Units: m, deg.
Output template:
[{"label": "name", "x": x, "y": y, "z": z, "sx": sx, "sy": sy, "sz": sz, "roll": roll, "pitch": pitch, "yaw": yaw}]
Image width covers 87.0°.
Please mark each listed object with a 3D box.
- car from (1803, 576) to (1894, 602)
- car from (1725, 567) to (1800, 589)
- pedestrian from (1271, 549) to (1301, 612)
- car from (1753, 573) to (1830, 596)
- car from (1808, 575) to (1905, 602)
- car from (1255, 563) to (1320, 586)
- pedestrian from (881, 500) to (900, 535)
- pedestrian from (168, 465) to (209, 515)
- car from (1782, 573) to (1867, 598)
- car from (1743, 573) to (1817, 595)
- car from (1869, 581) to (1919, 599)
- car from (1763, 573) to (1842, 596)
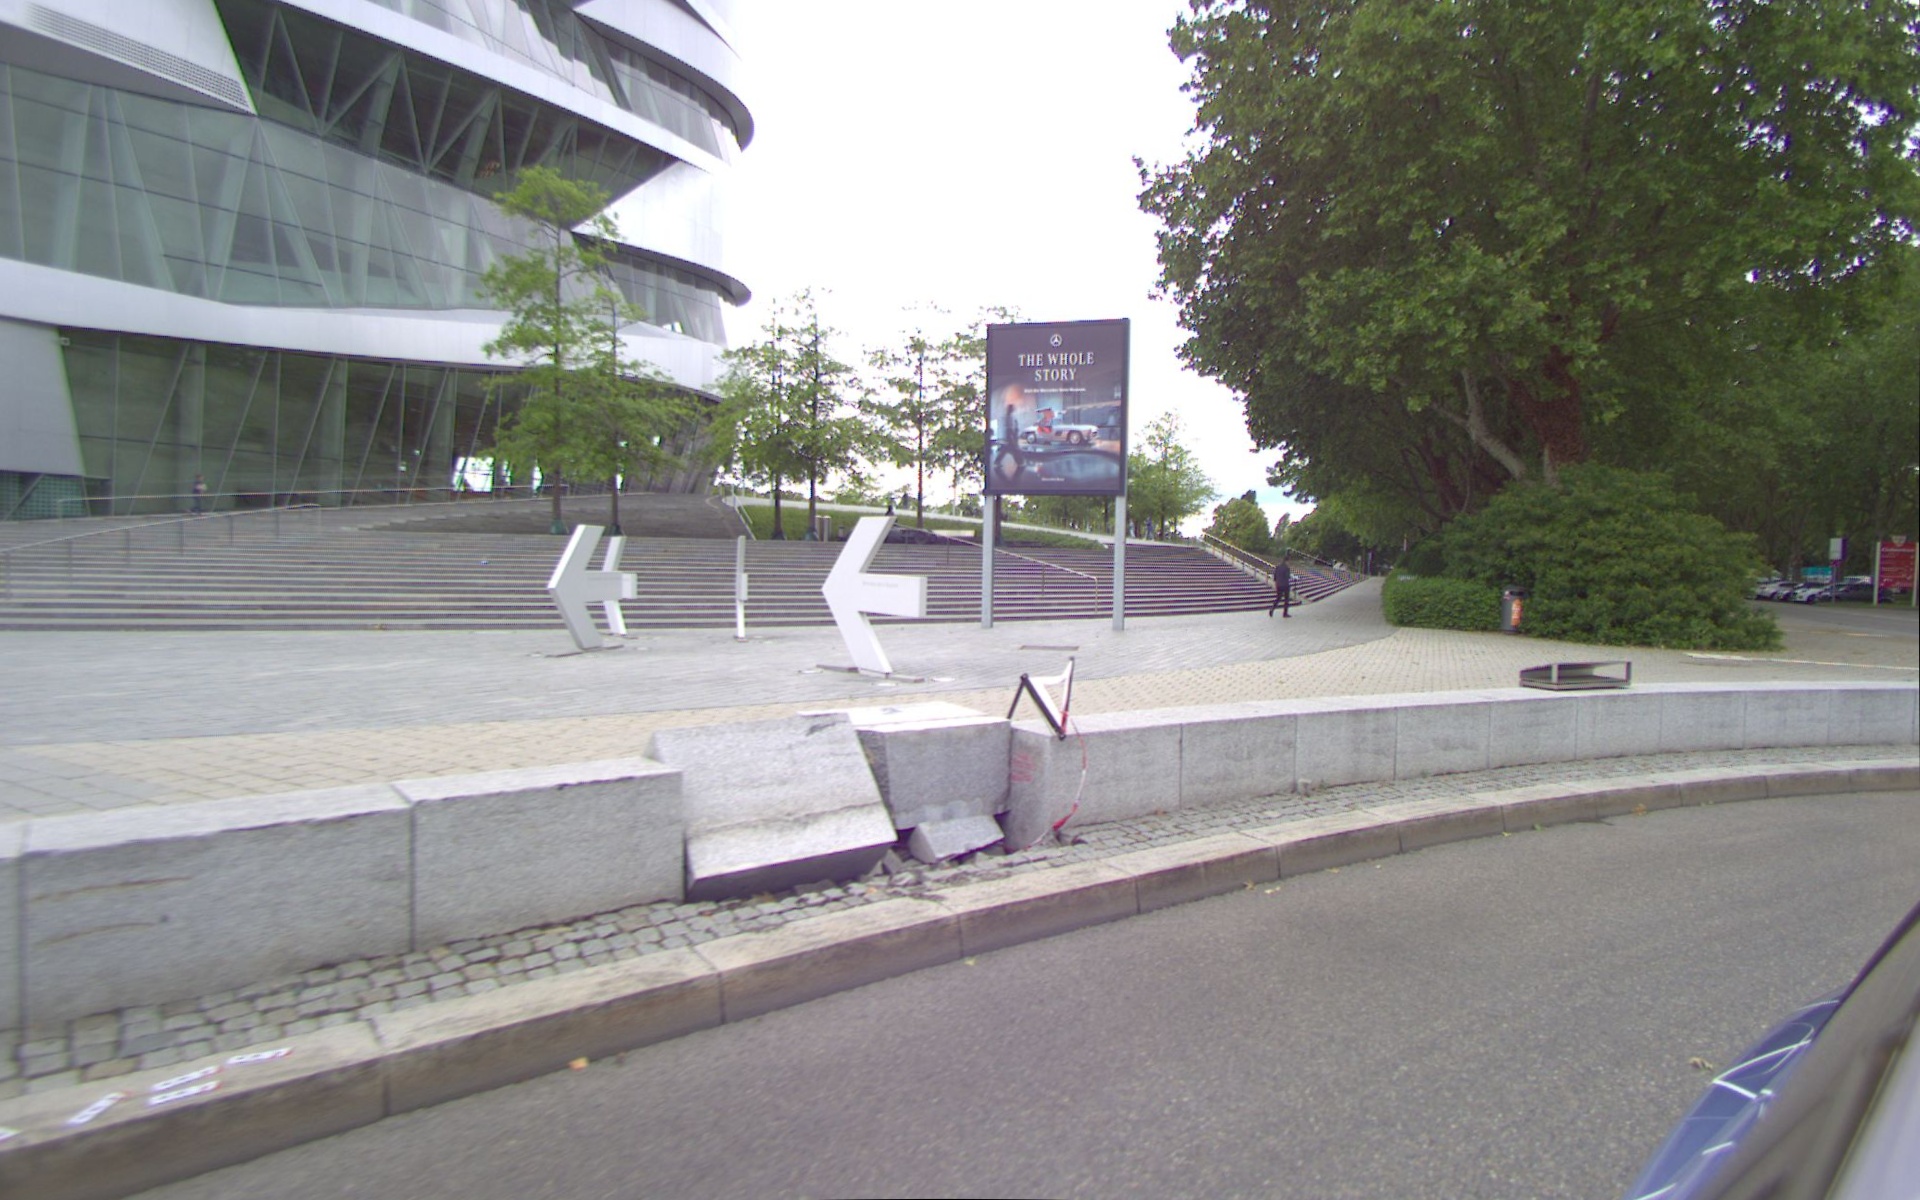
[{"label": "car", "x": 55.807, "y": -0.728, "z": 63.670, "sx": 3.976, "sy": 1.537, "sz": 1.851, "roll": 2, "pitch": 1, "yaw": 32}, {"label": "car", "x": 64.676, "y": -1.771, "z": 81.641, "sx": 4.393, "sy": 1.672, "sz": 1.780, "roll": 1, "pitch": 1, "yaw": 27}, {"label": "pedestrian", "x": 9.365, "y": -0.557, "z": 29.083, "sx": 0.582, "sy": 1.783, "sz": 0.556, "roll": 0, "pitch": 1, "yaw": -21}, {"label": "car", "x": 59.571, "y": -1.144, "z": 72.574, "sx": 3.976, "sy": 1.537, "sz": 1.851, "roll": 2, "pitch": 1, "yaw": 32}, {"label": "car", "x": 54.598, "y": -0.701, "z": 61.739, "sx": 4.144, "sy": 1.537, "sz": 1.851, "roll": 2, "pitch": 1, "yaw": 32}, {"label": "car", "x": 22.845, "y": -1.788, "z": 70.638, "sx": 3.976, "sy": 1.537, "sz": 1.851, "roll": 2, "pitch": 1, "yaw": 32}, {"label": "pedestrian", "x": -2.947, "y": -3.499, "z": 42.982, "sx": 0.775, "sy": 1.404, "sz": 0.684, "roll": 1, "pitch": 1, "yaw": -7}, {"label": "pedestrian", "x": -30.738, "y": -4.385, "z": 40.323, "sx": 0.845, "sy": 1.947, "sz": 0.944, "roll": 1, "pitch": 5, "yaw": 27}, {"label": "car", "x": 57.478, "y": -0.990, "z": 67.361, "sx": 3.976, "sy": 1.537, "sz": 1.851, "roll": 2, "pitch": 1, "yaw": 32}, {"label": "car", "x": 60.441, "y": -1.184, "z": 74.638, "sx": 3.976, "sy": 1.537, "sz": 1.851, "roll": 2, "pitch": 1, "yaw": 32}, {"label": "car", "x": 83.670, "y": -0.869, "z": 89.952, "sx": 3.976, "sy": 1.537, "sz": 1.851, "roll": 2, "pitch": 1, "yaw": 32}, {"label": "car", "x": 58.698, "y": -1.118, "z": 70.608, "sx": 3.976, "sy": 1.537, "sz": 1.851, "roll": 2, "pitch": 1, "yaw": 32}]
